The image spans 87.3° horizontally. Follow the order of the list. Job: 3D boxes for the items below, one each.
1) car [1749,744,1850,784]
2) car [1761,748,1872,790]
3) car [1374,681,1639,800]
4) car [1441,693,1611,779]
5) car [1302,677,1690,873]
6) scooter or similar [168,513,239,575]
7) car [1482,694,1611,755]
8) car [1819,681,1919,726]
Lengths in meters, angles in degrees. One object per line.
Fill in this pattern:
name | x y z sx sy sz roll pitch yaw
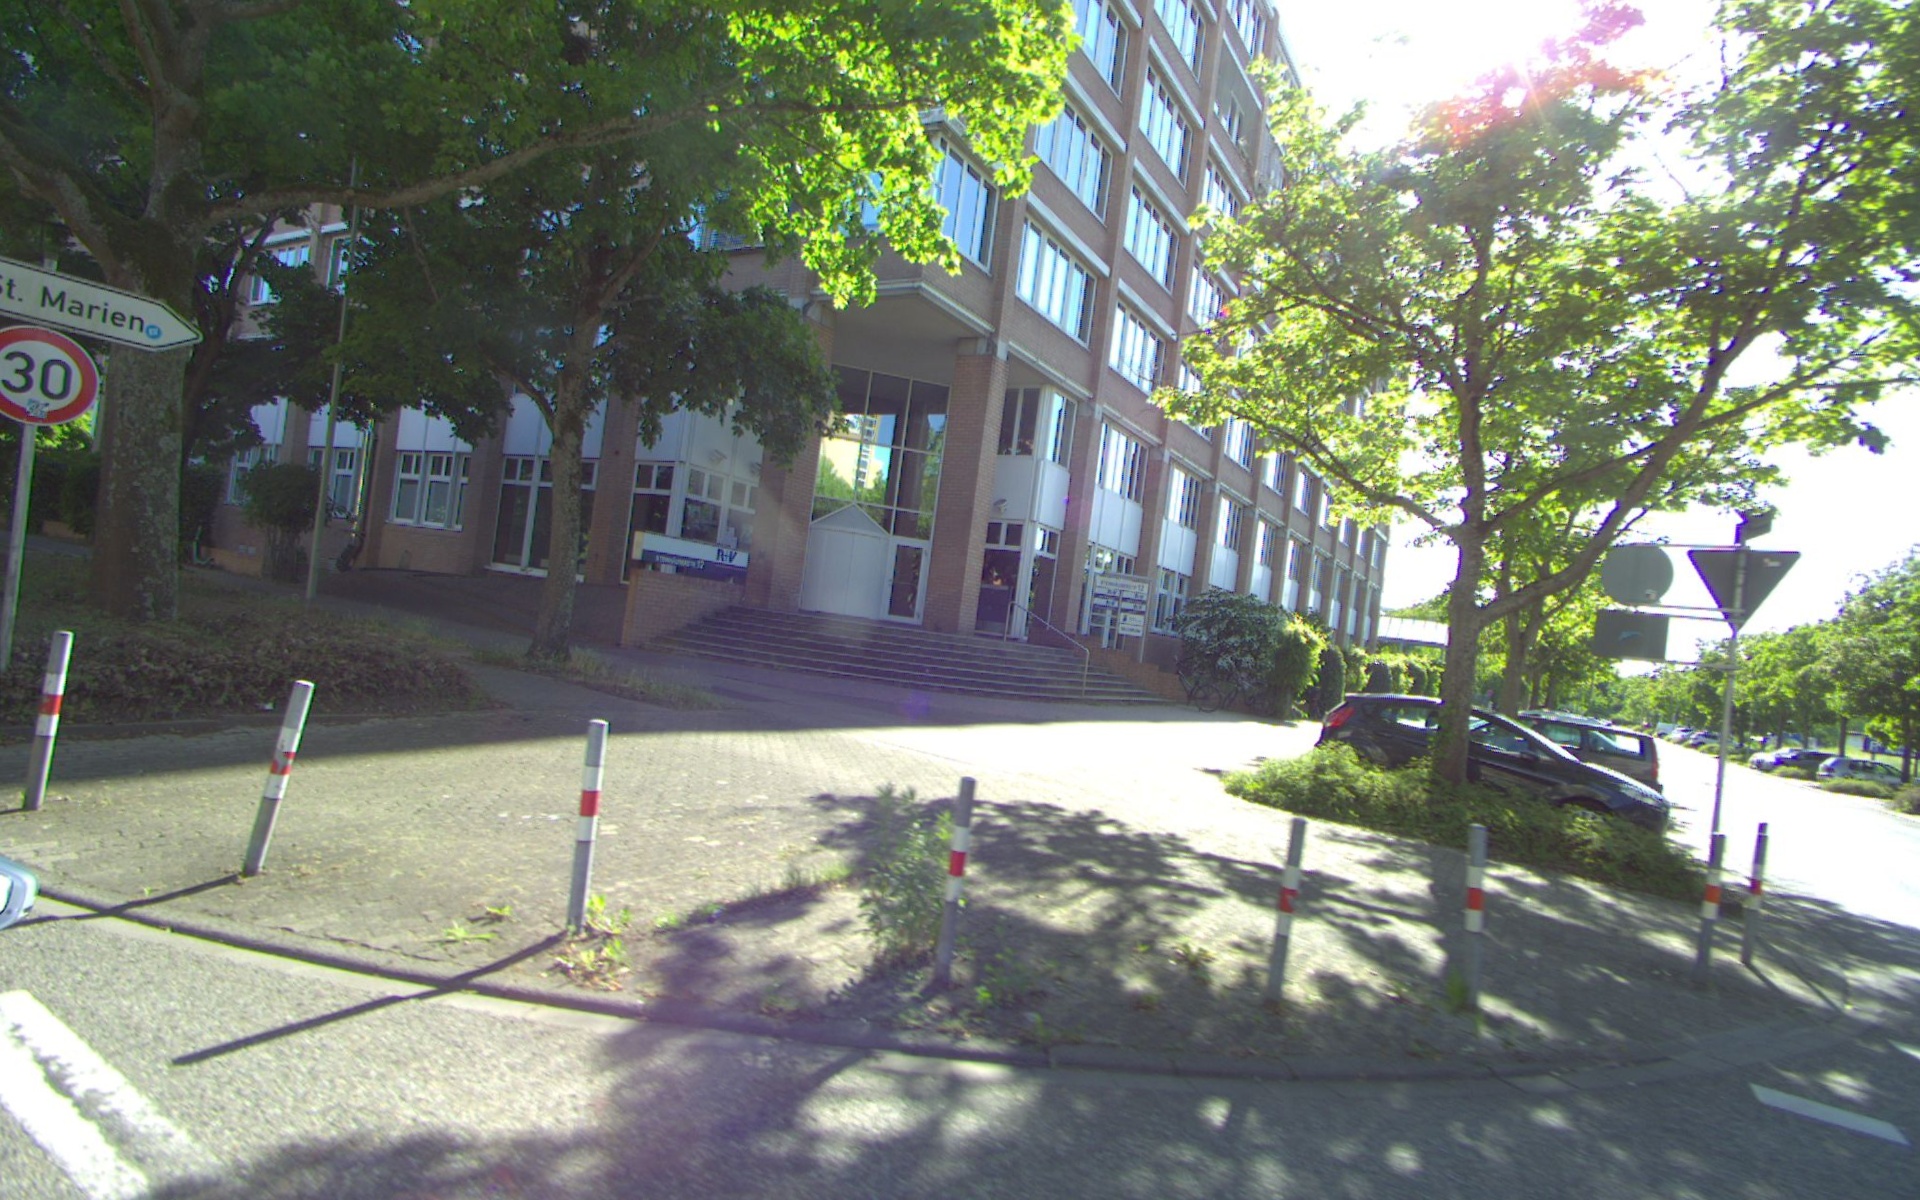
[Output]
car | 45.217 8.792 54.258 3.842 1.461 1.535 6 -2 29
car | 42.583 8.392 50.122 3.842 1.330 1.535 7 -1 29
car | 10.455 2.614 19.361 4.205 1.478 1.690 7 -1 35
car | 16.052 3.809 28.662 3.933 1.583 1.625 9 0 32
car | 6.464 2.004 12.341 3.856 1.479 1.653 7 -1 36
scooter or similar | -18.948 -1.403 25.181 1.774 1.340 0.550 7 -2 27
car | 21.292 4.491 36.611 3.845 1.520 1.534 7 -1 32
car | 39.260 4.415 42.734 3.843 1.460 1.535 6 -2 29
